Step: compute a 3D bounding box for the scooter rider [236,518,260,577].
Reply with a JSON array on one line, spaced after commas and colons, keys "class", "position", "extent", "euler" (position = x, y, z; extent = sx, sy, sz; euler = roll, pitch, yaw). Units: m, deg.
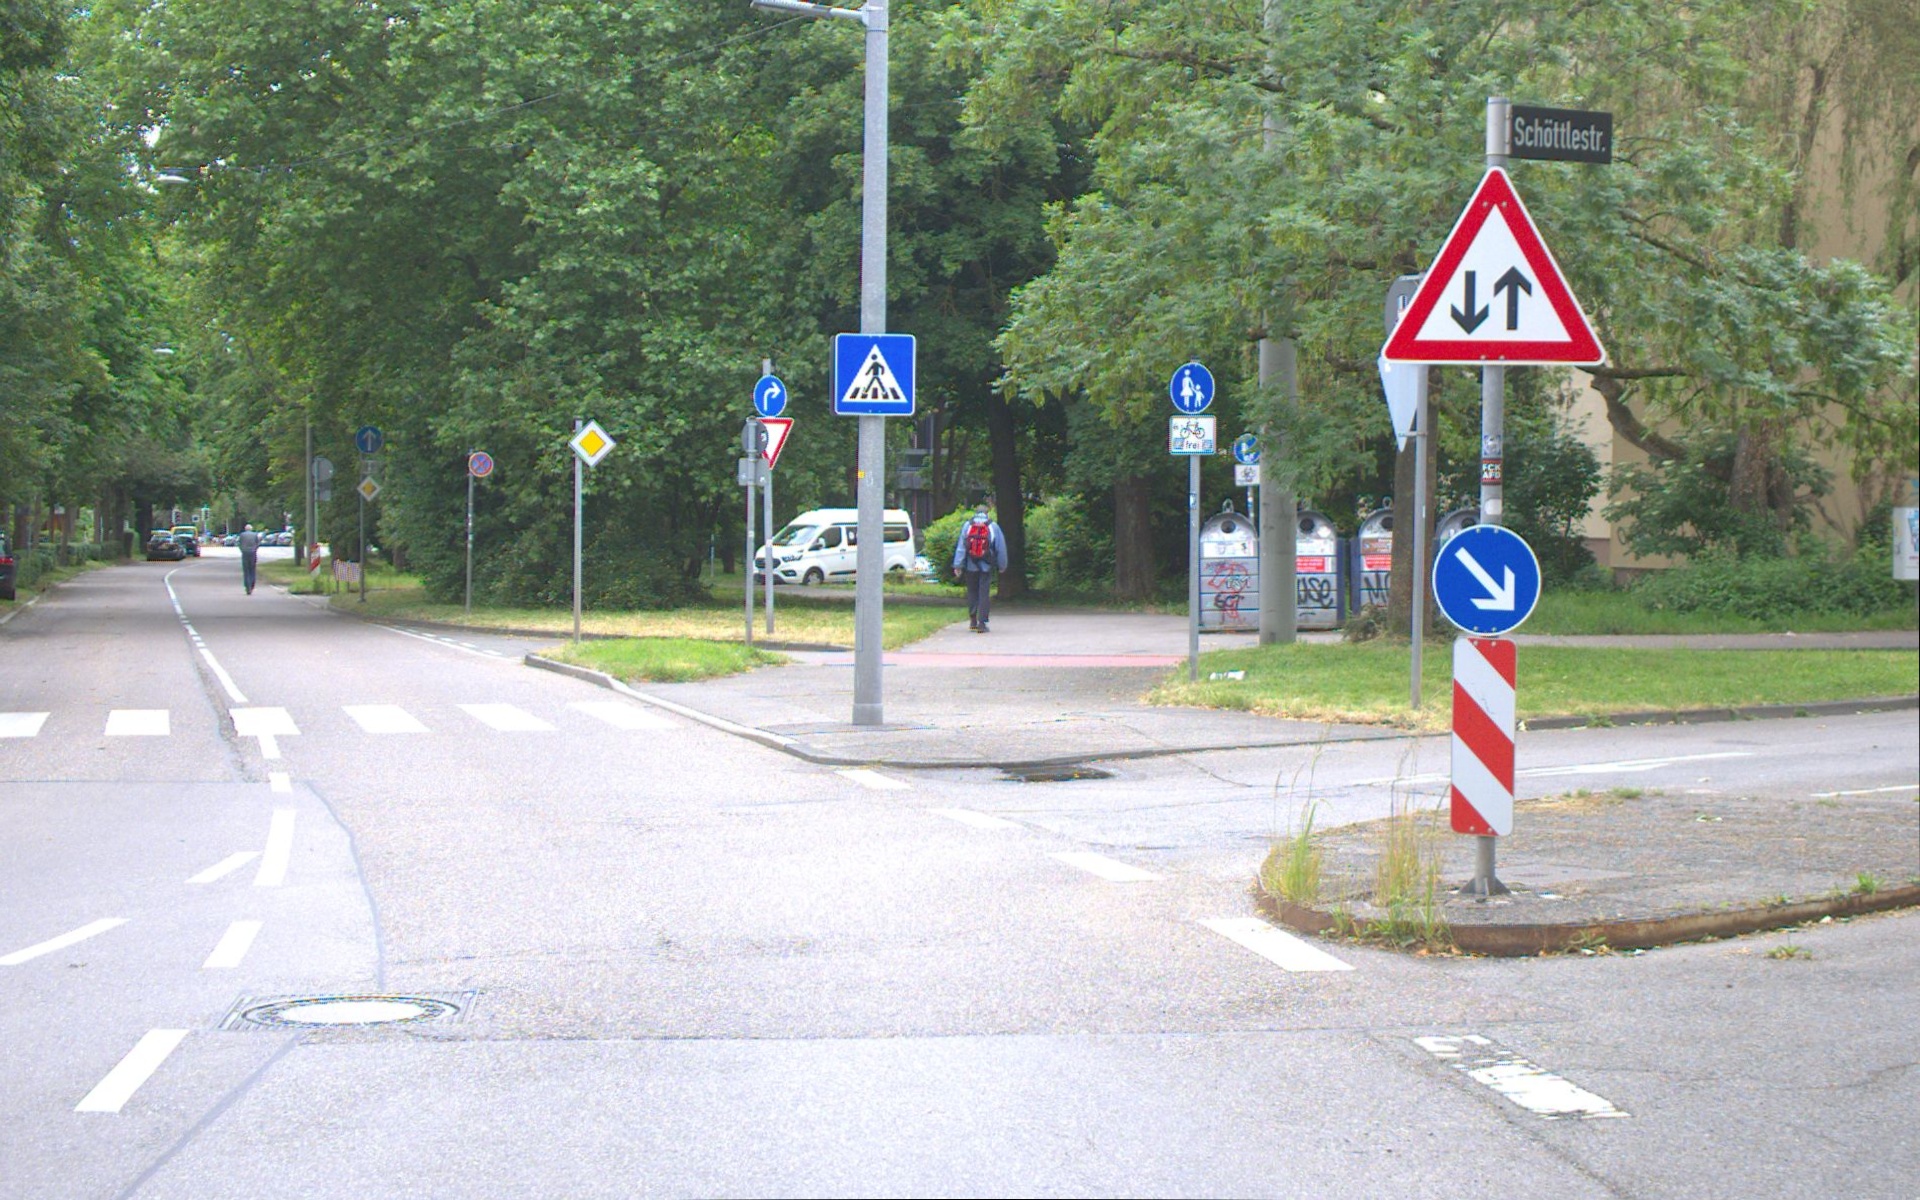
[{"class": "scooter rider", "position": [-19.224, -1.421, 92.873], "extent": [0.600, 1.547, 0.566], "euler": [-1, 3, -11]}]

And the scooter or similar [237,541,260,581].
[{"class": "scooter or similar", "position": [-19.191, -1.057, 92.740], "extent": [0.600, 1.051, 0.873], "euler": [-1, 3, -11]}]

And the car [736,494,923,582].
[{"class": "car", "position": [-3.740, -1.781, 99.222], "extent": [2.136, 2.289, 5.372], "euler": [5, 3, 42]}]

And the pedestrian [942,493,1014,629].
[{"class": "pedestrian", "position": [0.259, -0.577, 49.743], "extent": [0.923, 1.865, 1.019], "euler": [-3, 4, 0]}]

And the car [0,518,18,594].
[{"class": "car", "position": [-23.892, -1.114, 83.690], "extent": [1.642, 1.718, 3.802], "euler": [3, 2, -17]}]

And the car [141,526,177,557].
[{"class": "car", "position": [-44.218, -3.220, 189.724], "extent": [1.833, 1.493, 3.657], "euler": [3, 2, -14]}]
